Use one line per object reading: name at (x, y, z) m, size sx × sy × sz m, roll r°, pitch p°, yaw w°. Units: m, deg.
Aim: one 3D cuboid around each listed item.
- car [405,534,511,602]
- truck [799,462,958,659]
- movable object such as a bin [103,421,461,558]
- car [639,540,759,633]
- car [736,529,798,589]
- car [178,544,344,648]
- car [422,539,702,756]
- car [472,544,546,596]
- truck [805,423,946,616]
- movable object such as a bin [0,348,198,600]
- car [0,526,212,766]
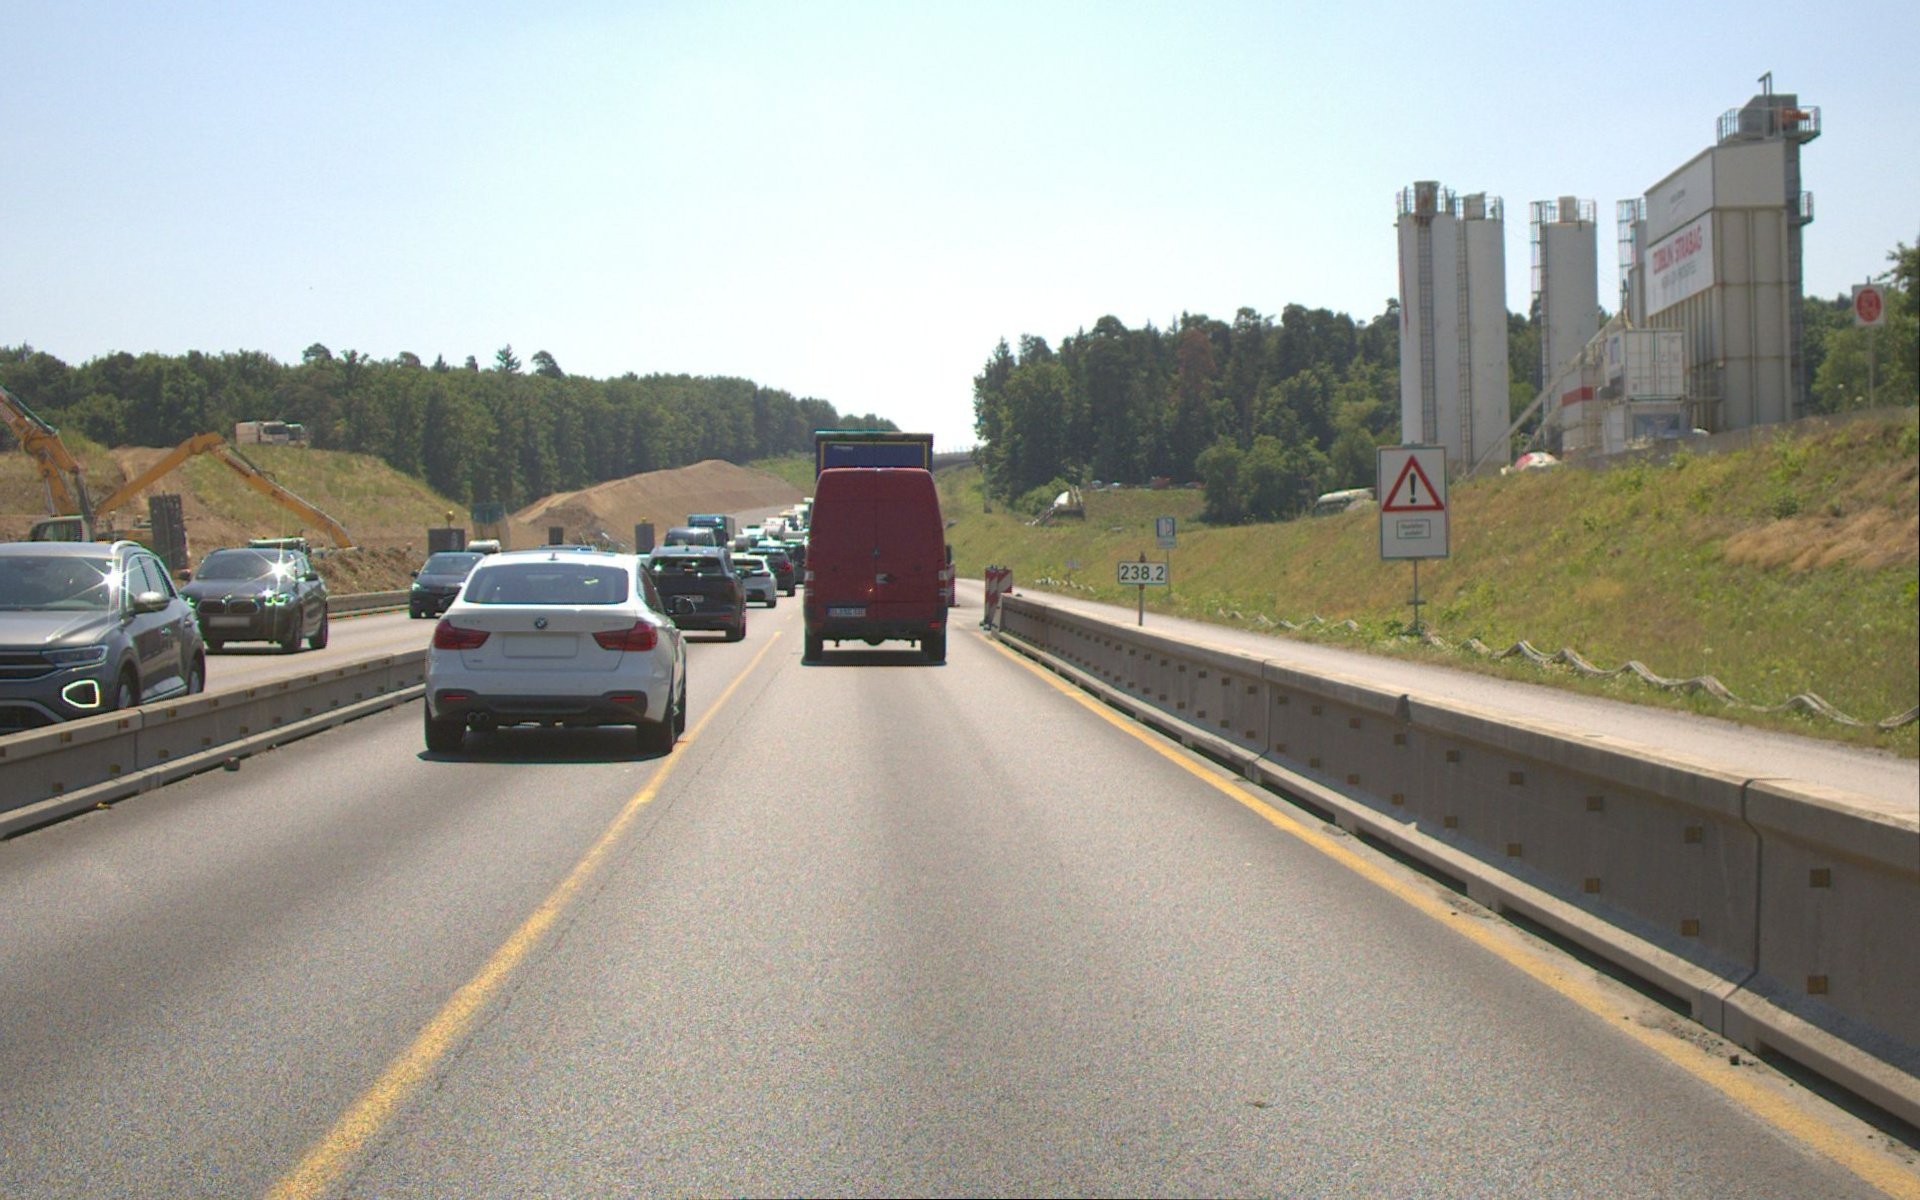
car at (-11.505, -0.744, 79.010) m, size 1.860 × 1.495 × 4.577 m, roll -1°, pitch 1°, yaw -2°
truck at (-1.186, -0.583, 49.476) m, size 2.111 × 2.624 × 6.485 m, roll -1°, pitch 1°, yaw -2°
movable object such as a bin at (-36.709, -5.971, 186.734) m, size 18.709 × 7.206 × 3.616 m, roll -1°, pitch 1°, yaw -3°
car at (-4.417, -0.257, 58.625) m, size 1.795 × 1.529 × 3.931 m, roll -1°, pitch 1°, yaw -1°
car at (-6.630, -1.430, 118.344) m, size 1.993 × 2.007 × 4.000 m, roll -1°, pitch 1°, yaw -1°
car at (-10.371, -0.095, 51.296) m, size 1.725 × 1.473 × 4.393 m, roll -1°, pitch 1°, yaw -2°
car at (-3.022, 0.302, 26.998) m, size 1.795 × 1.529 × 5.074 m, roll 0°, pitch 1°, yaw -2°
car at (-12.885, -0.861, 98.415) m, size 1.652 × 1.437 × 4.227 m, roll -1°, pitch 1°, yaw -1°
truck at (-1.911, -1.815, 78.678) m, size 3.015 × 4.138 × 8.273 m, roll -1°, pitch 1°, yaw -1°
movable object such as a bin at (-28.095, -3.898, 107.531) m, size 7.637 × 7.687 × 3.446 m, roll -1°, pitch 1°, yaw 0°
car at (-6.586, 0.275, 24.727) m, size 1.694 × 1.574 × 4.134 m, roll -1°, pitch 1°, yaw -3°
